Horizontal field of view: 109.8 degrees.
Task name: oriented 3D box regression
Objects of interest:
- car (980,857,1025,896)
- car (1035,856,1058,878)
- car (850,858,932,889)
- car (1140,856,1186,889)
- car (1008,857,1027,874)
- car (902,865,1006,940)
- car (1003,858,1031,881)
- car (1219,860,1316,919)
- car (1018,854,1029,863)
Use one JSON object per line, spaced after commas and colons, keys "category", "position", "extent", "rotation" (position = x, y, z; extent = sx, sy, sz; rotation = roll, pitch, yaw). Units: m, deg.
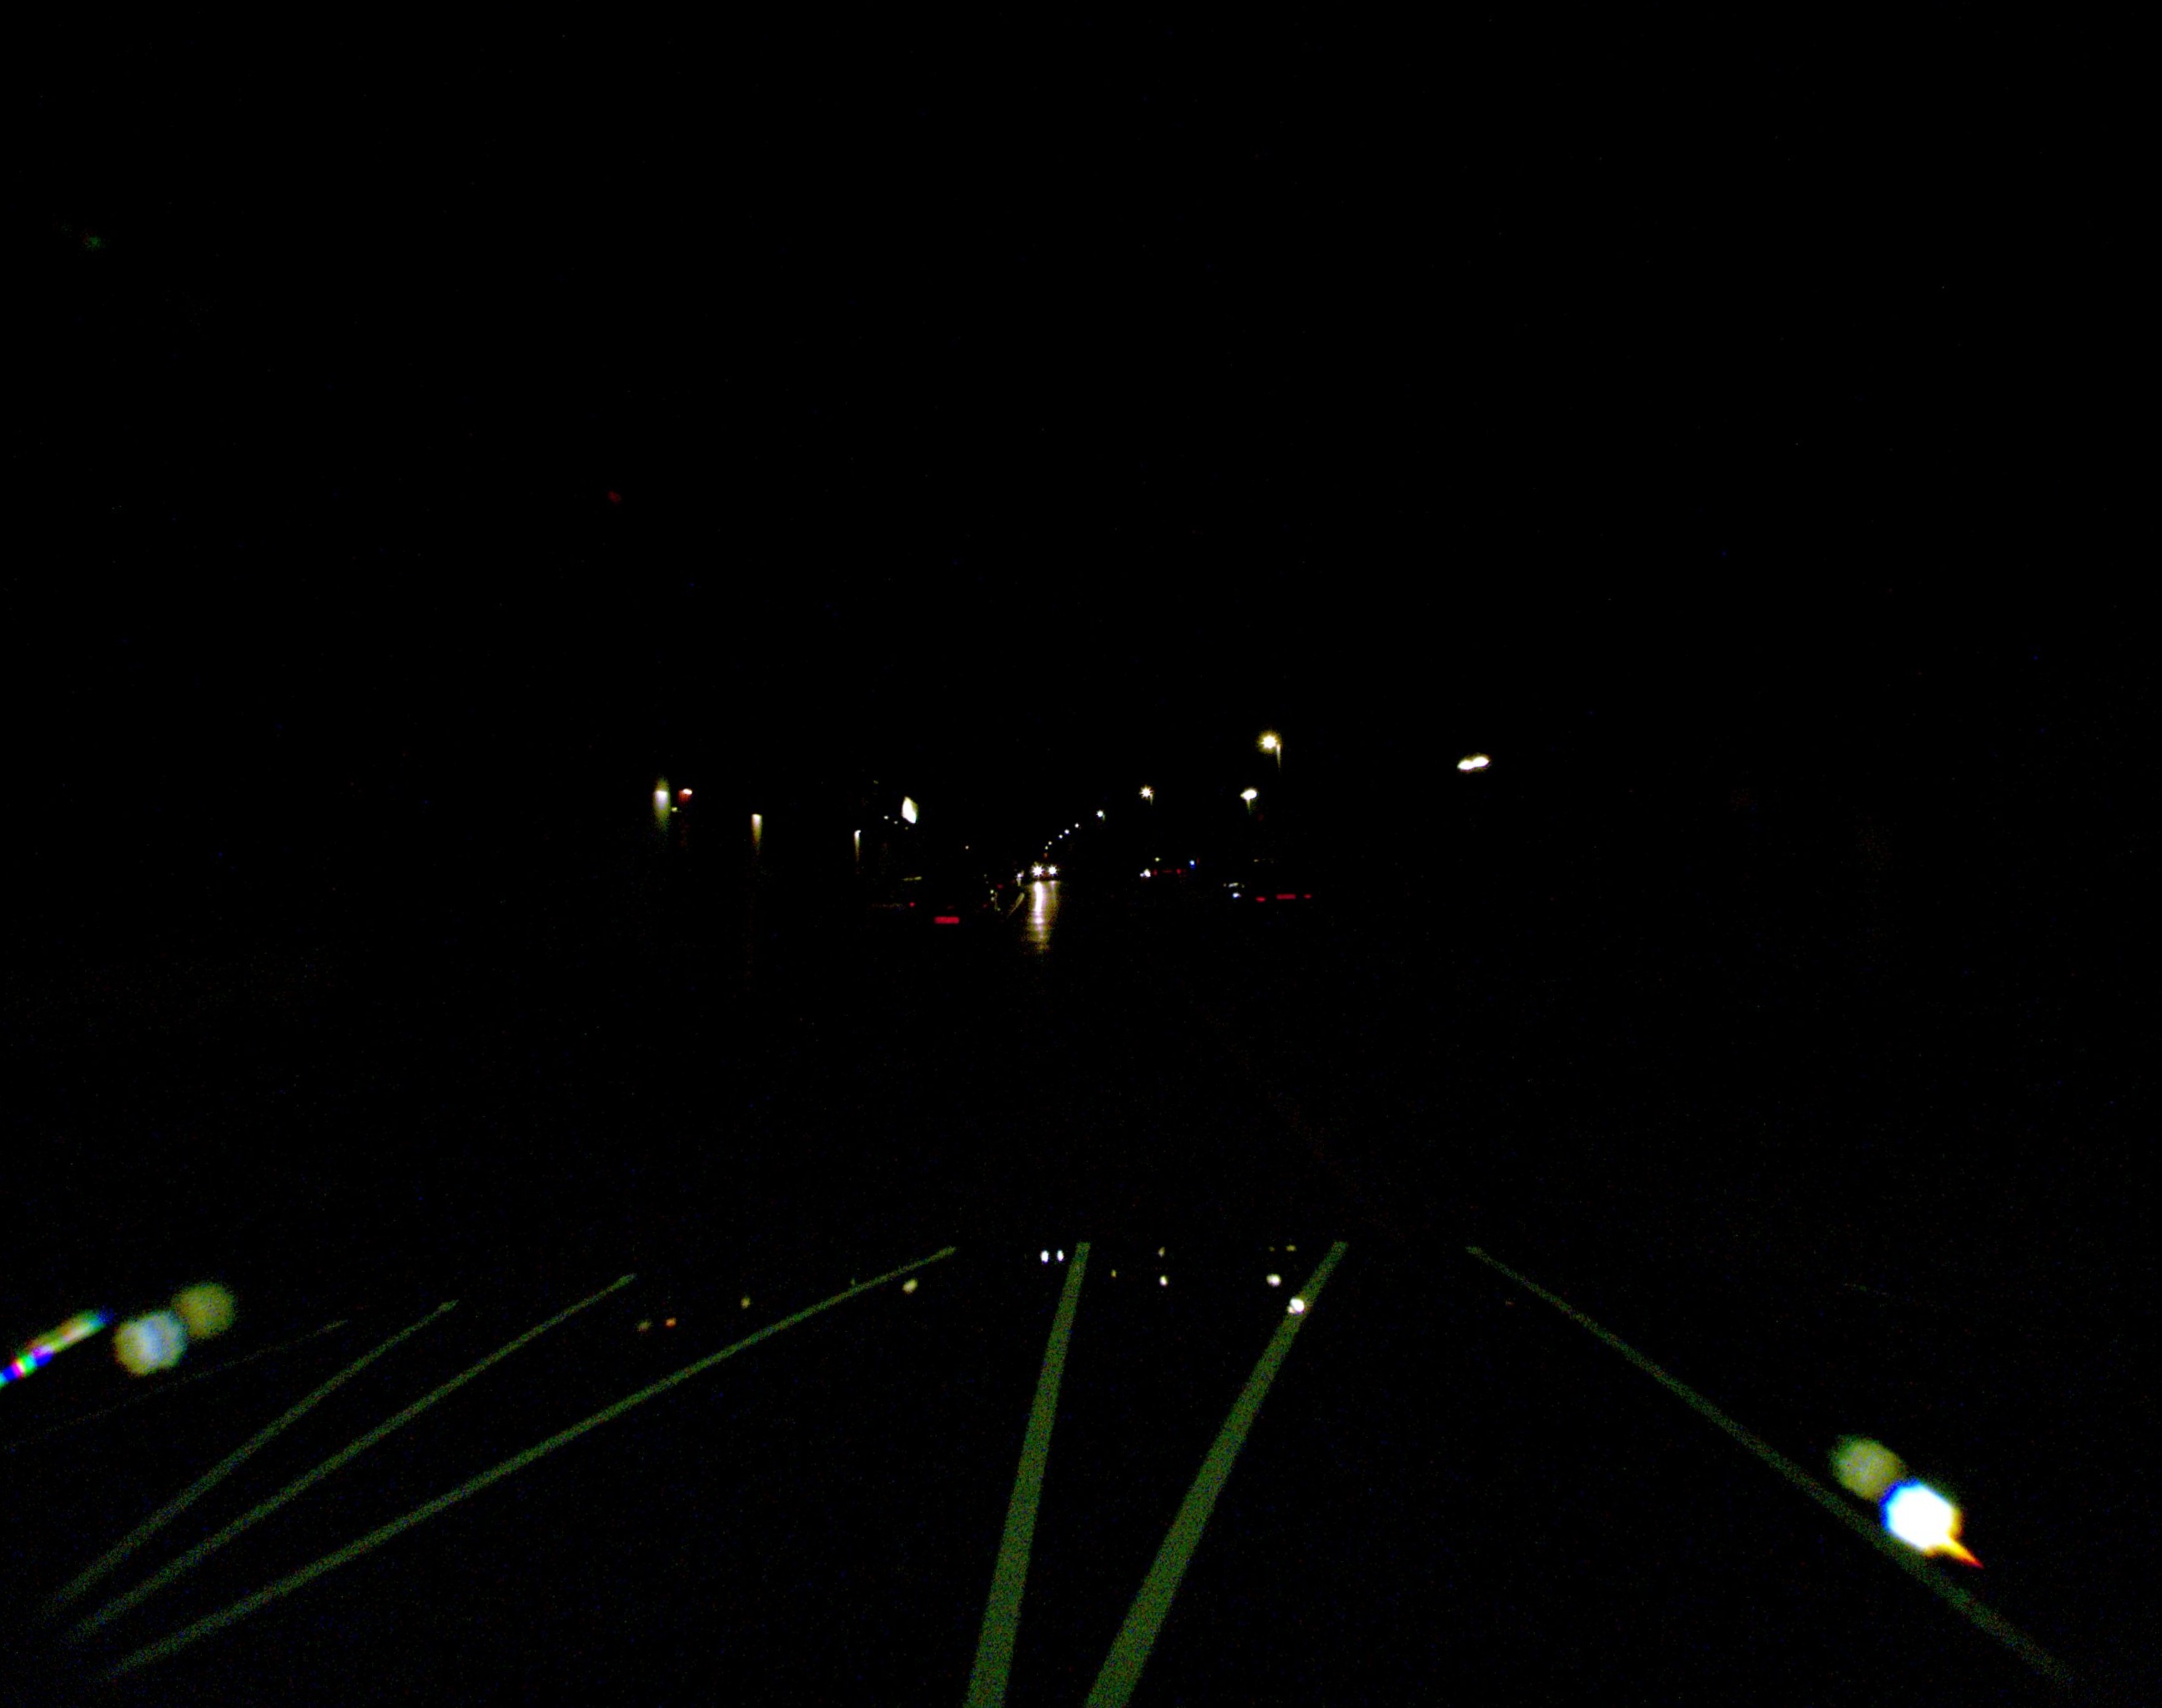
{"category": "car", "position": [-3.447, 0.946, 33.941], "extent": [1.792, 1.632, 4.378], "rotation": [0, 0, -3]}
{"category": "car", "position": [-2.573, 0.980, 57.151], "extent": [1.628, 1.496, 3.549], "rotation": [-2, 0, -2]}
{"category": "car", "position": [-10.659, 1.064, 42.714], "extent": [4.076, 1.576, 1.703], "rotation": [-1, 1, -34]}
{"category": "car", "position": [4.226, 0.913, 39.643], "extent": [1.697, 1.515, 3.688], "rotation": [-2, 1, -5]}
{"category": "car", "position": [-5.933, 1.077, 70.843], "extent": [1.643, 1.458, 3.774], "rotation": [-3, 0, -4]}
{"category": "car", "position": [-2.823, 1.034, 17.858], "extent": [1.862, 1.433, 4.593], "rotation": [0, 0, -2]}
{"category": "car", "position": [-4.544, 1.093, 54.247], "extent": [1.681, 1.439, 4.610], "rotation": [-3, 0, -1]}
{"category": "car", "position": [5.311, 0.952, 22.174], "extent": [1.696, 1.428, 4.127], "rotation": [-3, 0, -1]}
{"category": "car", "position": [-9.748, 0.703, 128.491], "extent": [1.703, 1.447, 3.712], "rotation": [-2, 0, -6]}
